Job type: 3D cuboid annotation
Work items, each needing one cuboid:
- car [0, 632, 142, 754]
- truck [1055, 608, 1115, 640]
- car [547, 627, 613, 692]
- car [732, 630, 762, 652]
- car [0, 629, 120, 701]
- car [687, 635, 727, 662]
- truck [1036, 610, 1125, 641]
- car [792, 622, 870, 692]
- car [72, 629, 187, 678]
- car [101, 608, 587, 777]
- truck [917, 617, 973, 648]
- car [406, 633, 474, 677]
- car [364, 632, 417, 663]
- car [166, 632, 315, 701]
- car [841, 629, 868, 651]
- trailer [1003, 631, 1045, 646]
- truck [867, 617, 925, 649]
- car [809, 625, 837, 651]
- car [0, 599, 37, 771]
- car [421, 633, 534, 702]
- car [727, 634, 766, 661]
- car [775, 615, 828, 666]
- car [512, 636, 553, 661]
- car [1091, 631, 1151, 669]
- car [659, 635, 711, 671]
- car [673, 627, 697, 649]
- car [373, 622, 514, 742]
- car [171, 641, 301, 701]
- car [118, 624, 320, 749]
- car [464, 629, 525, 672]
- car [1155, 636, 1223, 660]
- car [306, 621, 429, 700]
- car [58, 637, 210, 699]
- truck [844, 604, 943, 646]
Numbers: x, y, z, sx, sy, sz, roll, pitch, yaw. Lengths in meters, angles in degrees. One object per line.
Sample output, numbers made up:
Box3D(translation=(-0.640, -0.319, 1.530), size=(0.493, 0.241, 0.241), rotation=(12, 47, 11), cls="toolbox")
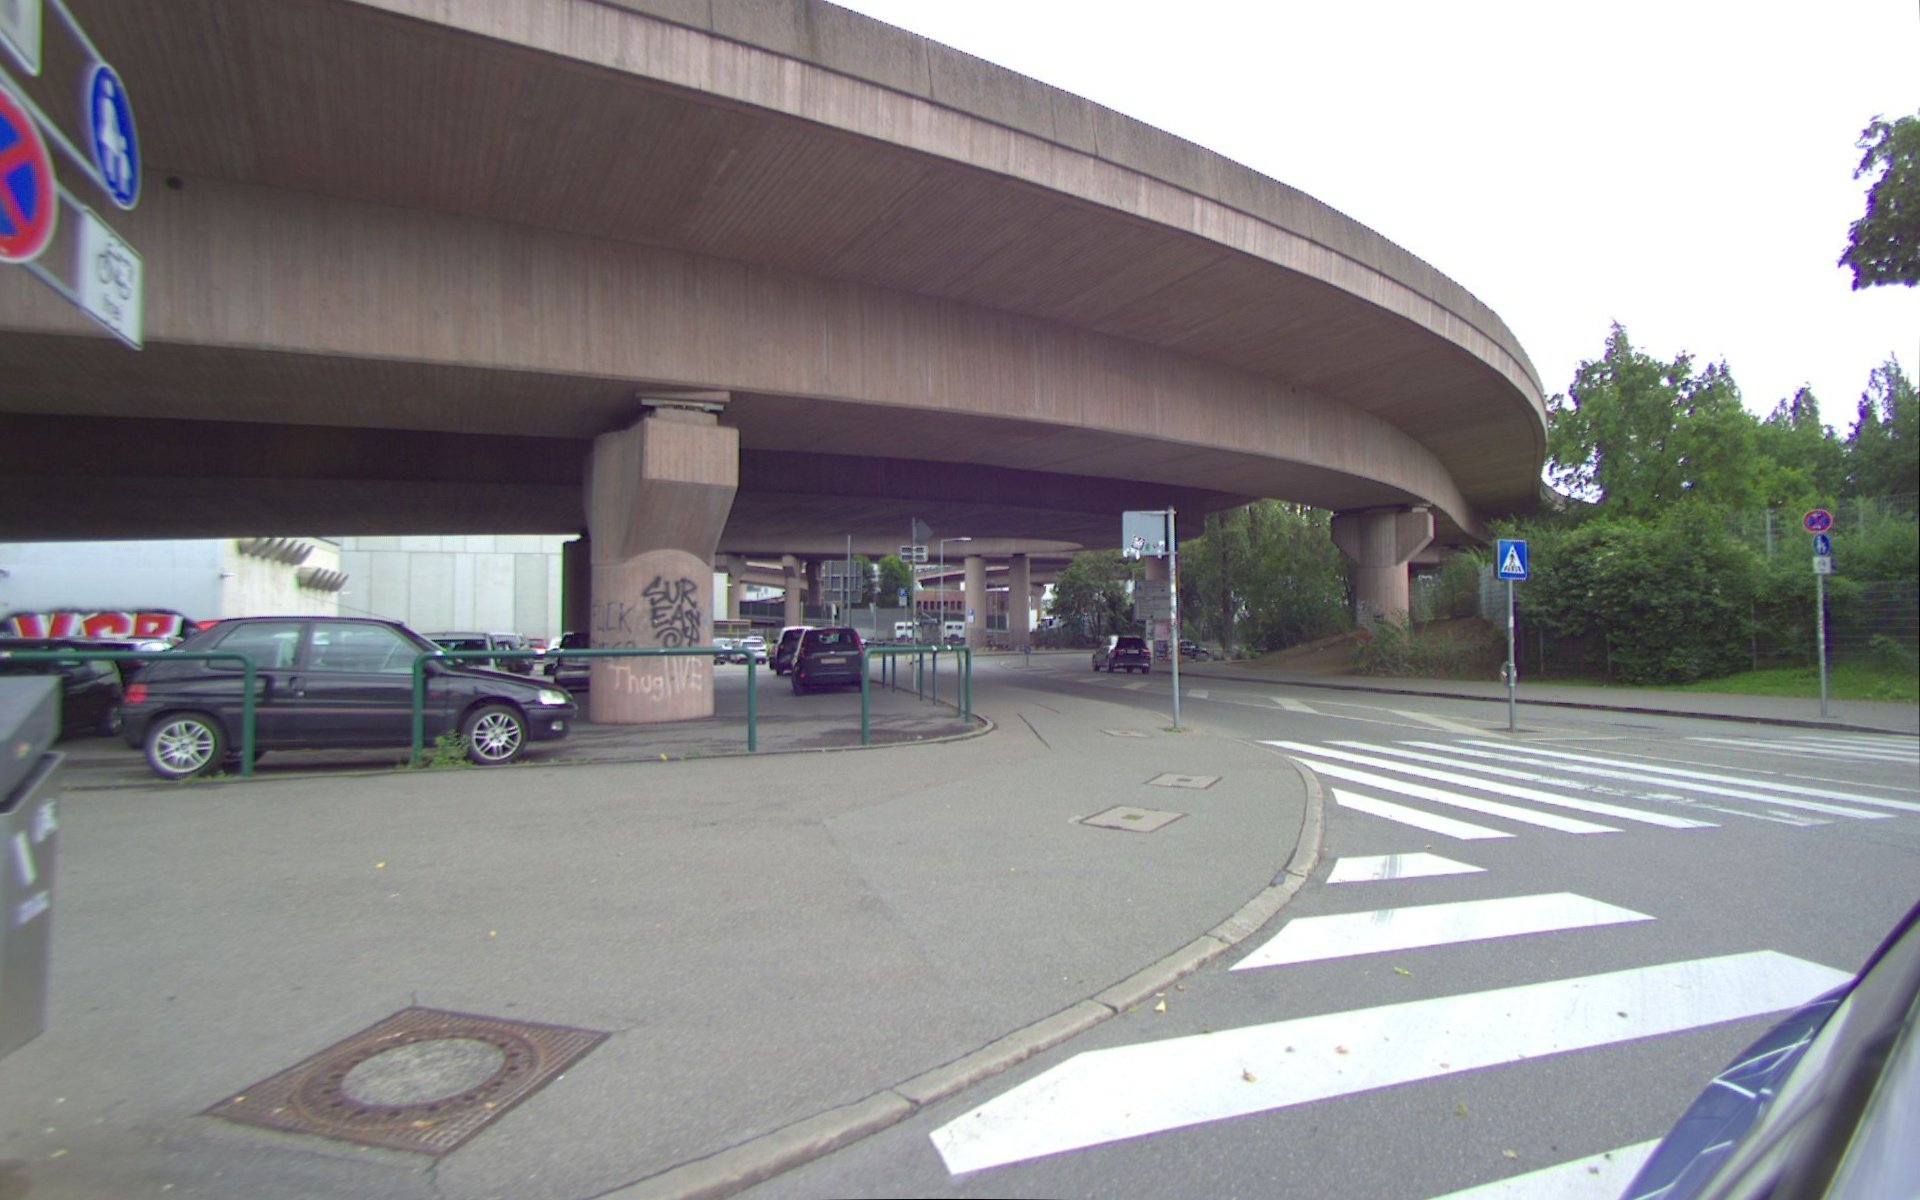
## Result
Box3D(translation=(-12.712, 1.167, 13.715), size=(1.663, 1.462, 3.866), rotation=(1, -2, -26), cls="car")
Box3D(translation=(14.026, 2.687, 113.535), size=(6.278, 3.452, 2.275), rotation=(1, -1, -14), cls="truck")
Box3D(translation=(-9.891, 1.504, 26.421), size=(1.498, 1.519, 3.380), rotation=(-1, -1, -20), cls="car")
Box3D(translation=(-16.142, 3.085, 76.575), size=(1.738, 1.609, 4.368), rotation=(1, -2, -18), cls="car")
Box3D(translation=(-20.271, 1.363, 22.026), size=(1.799, 1.446, 3.868), rotation=(1, -2, -20), cls="car")
Box3D(translation=(-14.669, 2.788, 58.635), size=(1.819, 1.494, 4.694), rotation=(1, -2, -19), cls="car")
Box3D(translation=(13.948, 2.926, 116.983), size=(10.000, 3.543, 2.275), rotation=(1, -1, -16), cls="truck")
Box3D(translation=(-3.004, 1.250, 23.068), size=(1.578, 1.415, 3.584), rotation=(-1, -2, -10), cls="car")
Box3D(translation=(-29.331, 1.864, 35.898), size=(1.799, 1.613, 4.199), rotation=(1, -2, -20), cls="car")
Box3D(translation=(-5.430, 0.810, 9.466), size=(3.621, 1.348, 1.512), rotation=(0, -5, -20), cls="car")
Box3D(translation=(-1.314, 3.019, 94.458), size=(2.399, 2.780, 7.170), rotation=(-1, -2, 25), cls="truck")
Box3D(translation=(-20.182, 2.088, 39.452), size=(1.799, 1.613, 4.199), rotation=(1, -2, -20), cls="car")
Box3D(translation=(-29.951, 2.480, 53.355), size=(1.732, 1.553, 3.982), rotation=(1, -2, -19), cls="car")
Box3D(translation=(-16.460, 1.471, 23.373), size=(1.799, 1.446, 3.868), rotation=(1, -2, -20), cls="car")
Box3D(translation=(-8.268, 3.103, 79.490), size=(1.741, 1.656, 4.684), rotation=(1, -2, -1), cls="car")
Box3D(translation=(6.339, 3.763, 99.695), size=(4.308, 1.348, 1.602), rotation=(1, -1, -43), cls="trailer")
Box3D(translation=(-5.884, 3.062, 93.660), size=(2.439, 2.924, 6.050), rotation=(-1, -3, 31), cls="truck")
Box3D(translation=(-10.785, 2.985, 79.545), size=(1.855, 1.982, 4.686), rotation=(1, -2, -11), cls="car")
Box3D(translation=(-9.904, 0.705, 7.542), size=(4.159, 1.439, 1.512), rotation=(0, -4, -22), cls="car")
Box3D(translation=(-11.782, 1.587, 24.977), size=(1.800, 1.489, 4.387), rotation=(-1, -2, -16), cls="car")
Box3D(translation=(-12.637, 2.784, 59.737), size=(1.819, 1.494, 4.694), rotation=(1, -2, -17), cls="car")
Box3D(translation=(-5.215, 1.314, 33.106), size=(1.578, 1.553, 3.414), rotation=(-1, -2, -10), cls="car")
Box3D(translation=(-25.556, 2.887, 60.652), size=(1.800, 1.444, 4.449), rotation=(1, -2, -17), cls="car")
Box3D(translation=(7.135, 2.185, 45.156), size=(1.810, 1.595, 4.549), rotation=(0, -2, -2), cls="car")
Box3D(translation=(-11.723, 2.221, 43.016), size=(1.799, 1.440, 4.199), rotation=(1, -2, -20), cls="car")
Box3D(translation=(-20.268, 2.823, 74.609), size=(1.589, 1.564, 3.103), rotation=(1, -2, -16), cls="car")
Box3D(translation=(-7.701, 1.133, 15.388), size=(1.605, 1.572, 4.017), rotation=(1, -2, -23), cls="car")
Box3D(translation=(-19.733, 1.873, 27.801), size=(1.799, 1.485, 4.199), rotation=(1, -2, -20), cls="car")
Box3D(translation=(-10.457, 1.137, 14.575), size=(1.663, 1.529, 3.866), rotation=(1, -2, -26), cls="car")
Box3D(translation=(-18.272, 1.963, 39.901), size=(1.799, 1.613, 4.199), rotation=(1, -2, -20), cls="car")
Box3D(translation=(14.889, 3.122, 65.651), size=(4.688, 1.449, 1.825), rotation=(1, -5, -40), cls="car")
Box3D(translation=(-13.932, 1.379, 24.024), size=(1.799, 1.720, 3.868), rotation=(1, -2, -20), cls="car")
Box3D(translation=(-21.786, 1.735, 26.909), size=(1.799, 1.485, 4.199), rotation=(1, -2, -20), cls="car")
Box3D(translation=(-7.162, 2.768, 108.531), size=(9.921, 4.423, 3.920), rotation=(1, -3, -17), cls="truck")
